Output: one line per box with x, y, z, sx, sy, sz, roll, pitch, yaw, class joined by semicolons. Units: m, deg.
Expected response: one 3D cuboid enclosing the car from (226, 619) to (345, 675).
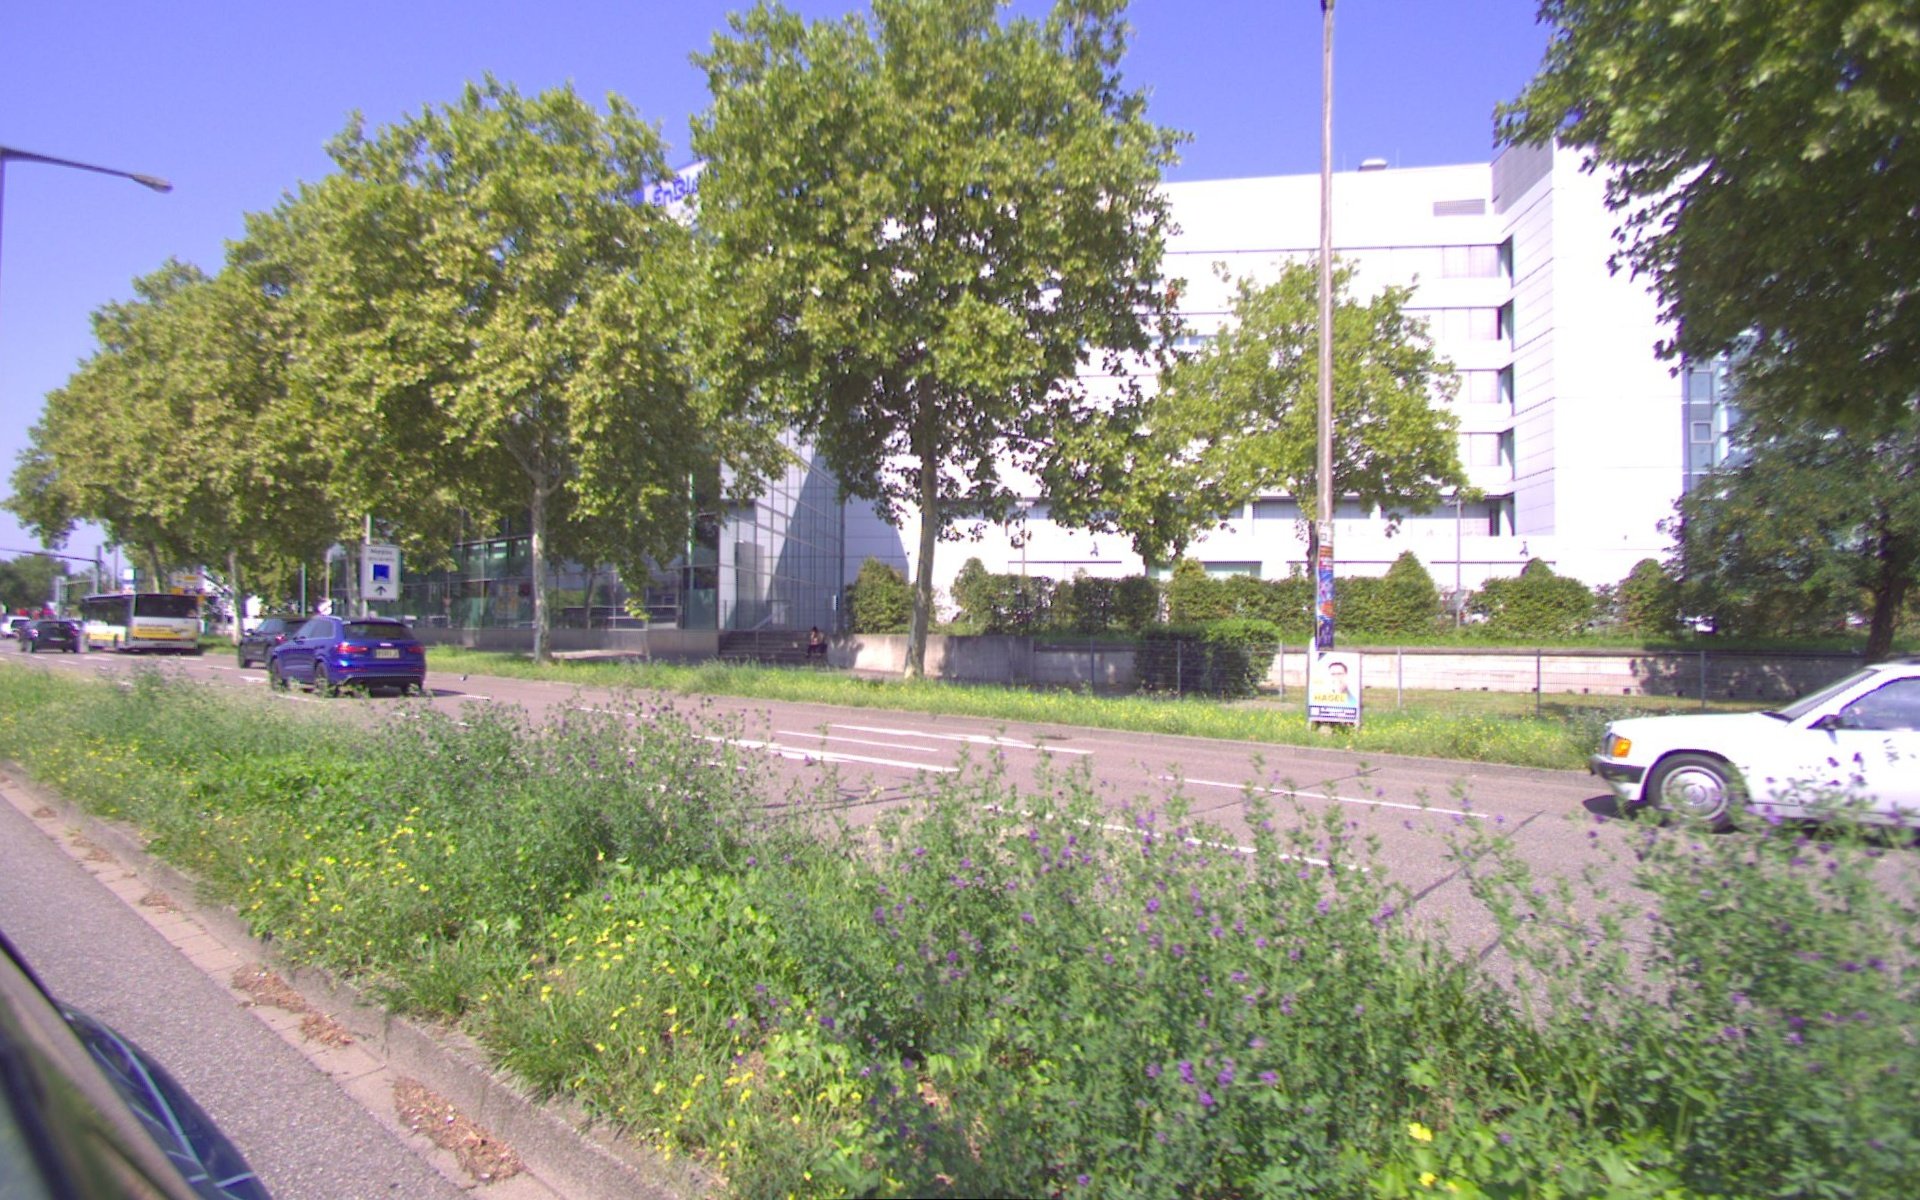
-21.304;1.469;31.903;4.606;1.617;1.827;-1;-5;40;car

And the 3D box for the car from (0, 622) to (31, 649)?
-69.581;2.559;73.871;3.972;1.910;1.908;-1;-4;39;car

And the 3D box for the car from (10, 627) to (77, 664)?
-40.587;1.977;44.801;4.309;1.501;1.687;-2;-1;41;car

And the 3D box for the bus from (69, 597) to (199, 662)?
-38.810;1.382;47.361;10.897;2.715;2.635;-1;-4;40;bus

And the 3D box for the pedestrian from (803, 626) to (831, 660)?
-4.905;1.465;34.629;0.561;1.118;0.728;-4;-3;35;pedestrian

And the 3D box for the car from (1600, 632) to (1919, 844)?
7.411;1.009;7.458;4.405;1.428;1.777;-1;-4;39;car

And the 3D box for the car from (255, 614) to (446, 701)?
-12.523;1.154;20.708;4.342;1.597;1.973;-1;-5;40;car

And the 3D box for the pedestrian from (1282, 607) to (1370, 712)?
7.509;1.210;20.823;1.247;2.029;1.018;-2;-2;-10;pedestrian
